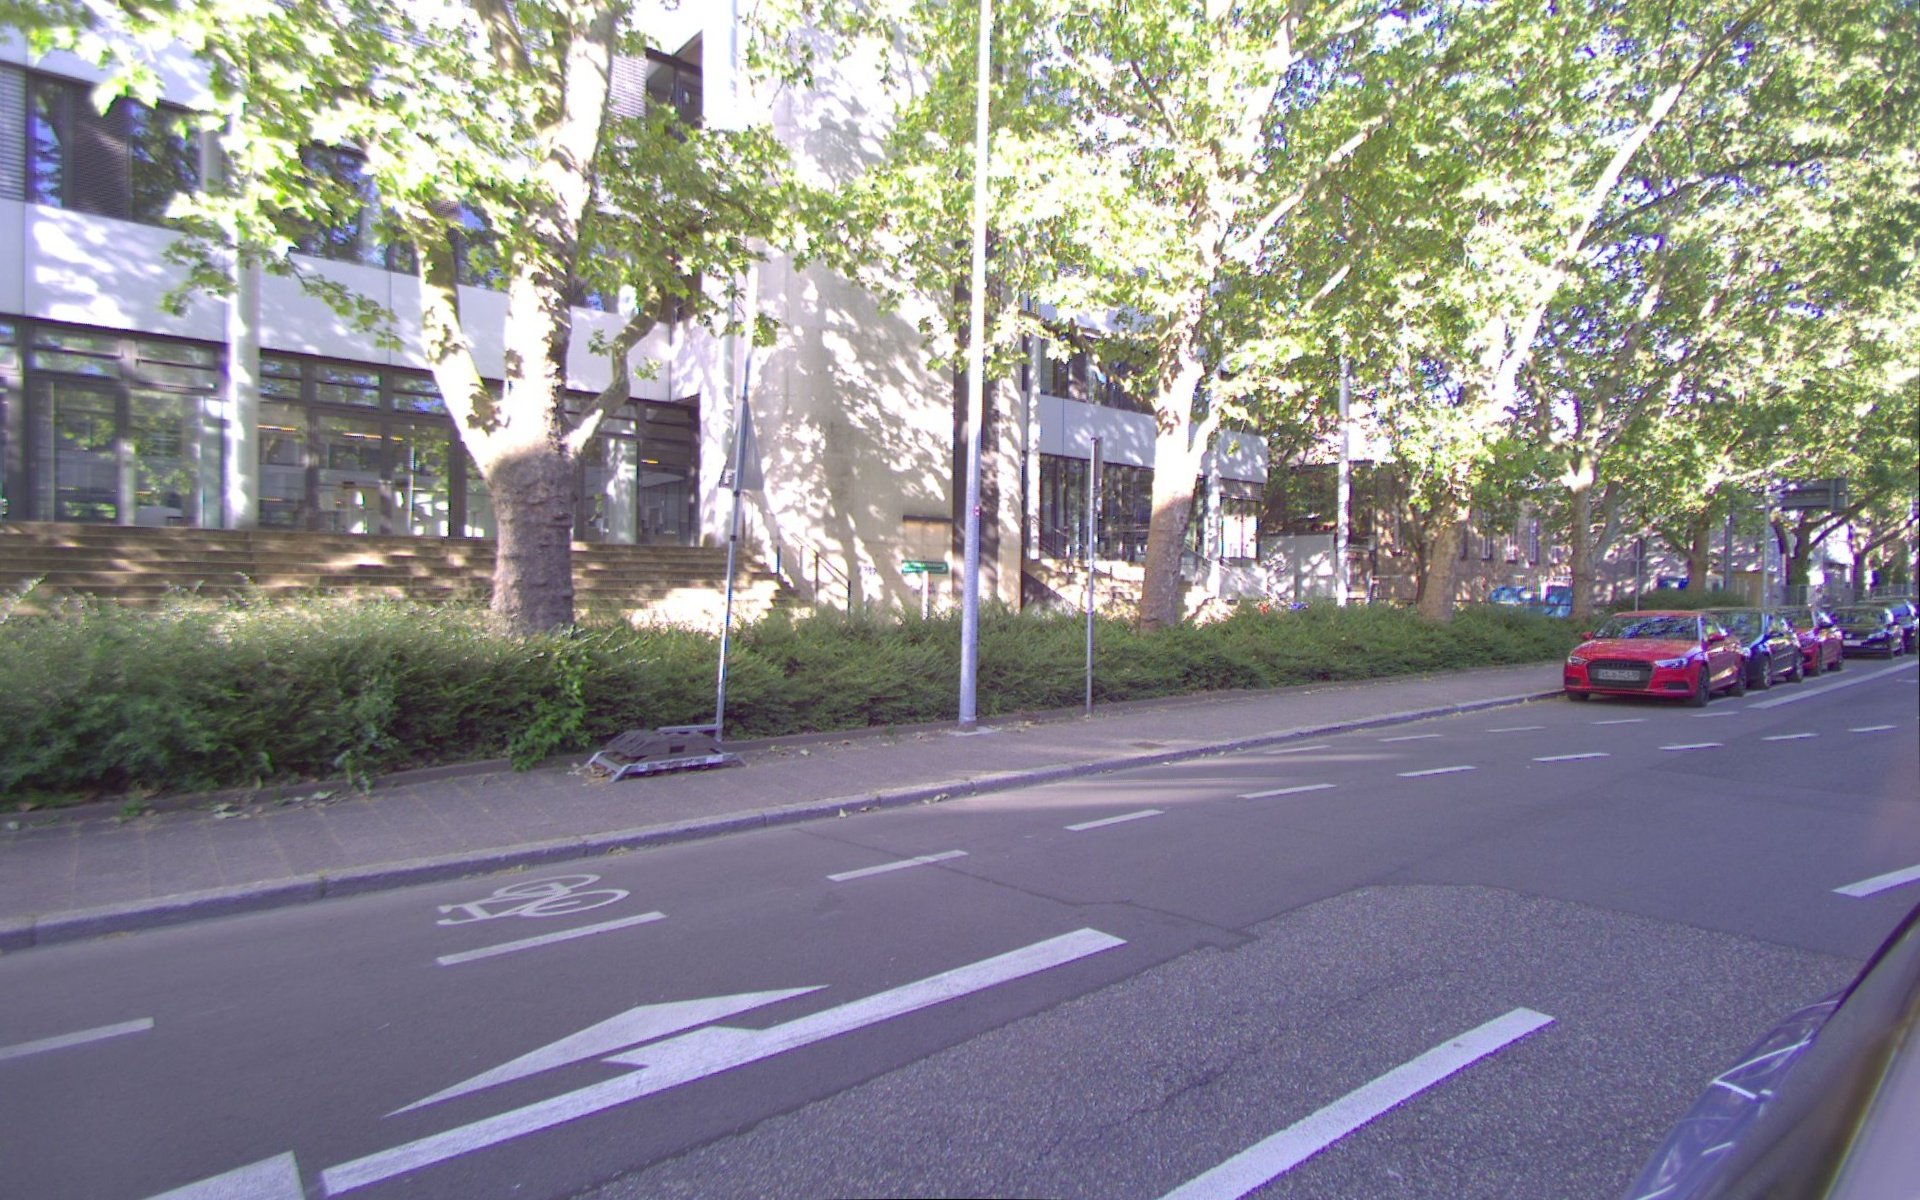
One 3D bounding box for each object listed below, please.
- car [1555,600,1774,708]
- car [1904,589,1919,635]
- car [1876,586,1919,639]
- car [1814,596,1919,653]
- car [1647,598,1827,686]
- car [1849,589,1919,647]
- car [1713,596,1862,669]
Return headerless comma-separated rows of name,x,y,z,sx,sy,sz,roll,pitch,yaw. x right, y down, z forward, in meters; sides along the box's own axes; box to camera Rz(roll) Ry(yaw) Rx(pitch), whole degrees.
car,11.308,0.745,16.128,4.403,1.469,1.865,0,0,-41
car,38.863,0.453,39.955,4.403,1.781,1.865,0,0,-41
car,33.897,0.403,35.685,4.403,1.781,1.865,0,0,-41
car,25.779,0.629,28.600,4.403,1.469,1.865,0,0,-41
car,14.755,0.699,19.129,4.403,1.469,1.865,0,0,-41
car,29.559,0.522,31.794,4.403,1.689,1.865,0,0,-41
car,18.423,0.644,22.466,4.403,1.469,1.865,0,0,-41
